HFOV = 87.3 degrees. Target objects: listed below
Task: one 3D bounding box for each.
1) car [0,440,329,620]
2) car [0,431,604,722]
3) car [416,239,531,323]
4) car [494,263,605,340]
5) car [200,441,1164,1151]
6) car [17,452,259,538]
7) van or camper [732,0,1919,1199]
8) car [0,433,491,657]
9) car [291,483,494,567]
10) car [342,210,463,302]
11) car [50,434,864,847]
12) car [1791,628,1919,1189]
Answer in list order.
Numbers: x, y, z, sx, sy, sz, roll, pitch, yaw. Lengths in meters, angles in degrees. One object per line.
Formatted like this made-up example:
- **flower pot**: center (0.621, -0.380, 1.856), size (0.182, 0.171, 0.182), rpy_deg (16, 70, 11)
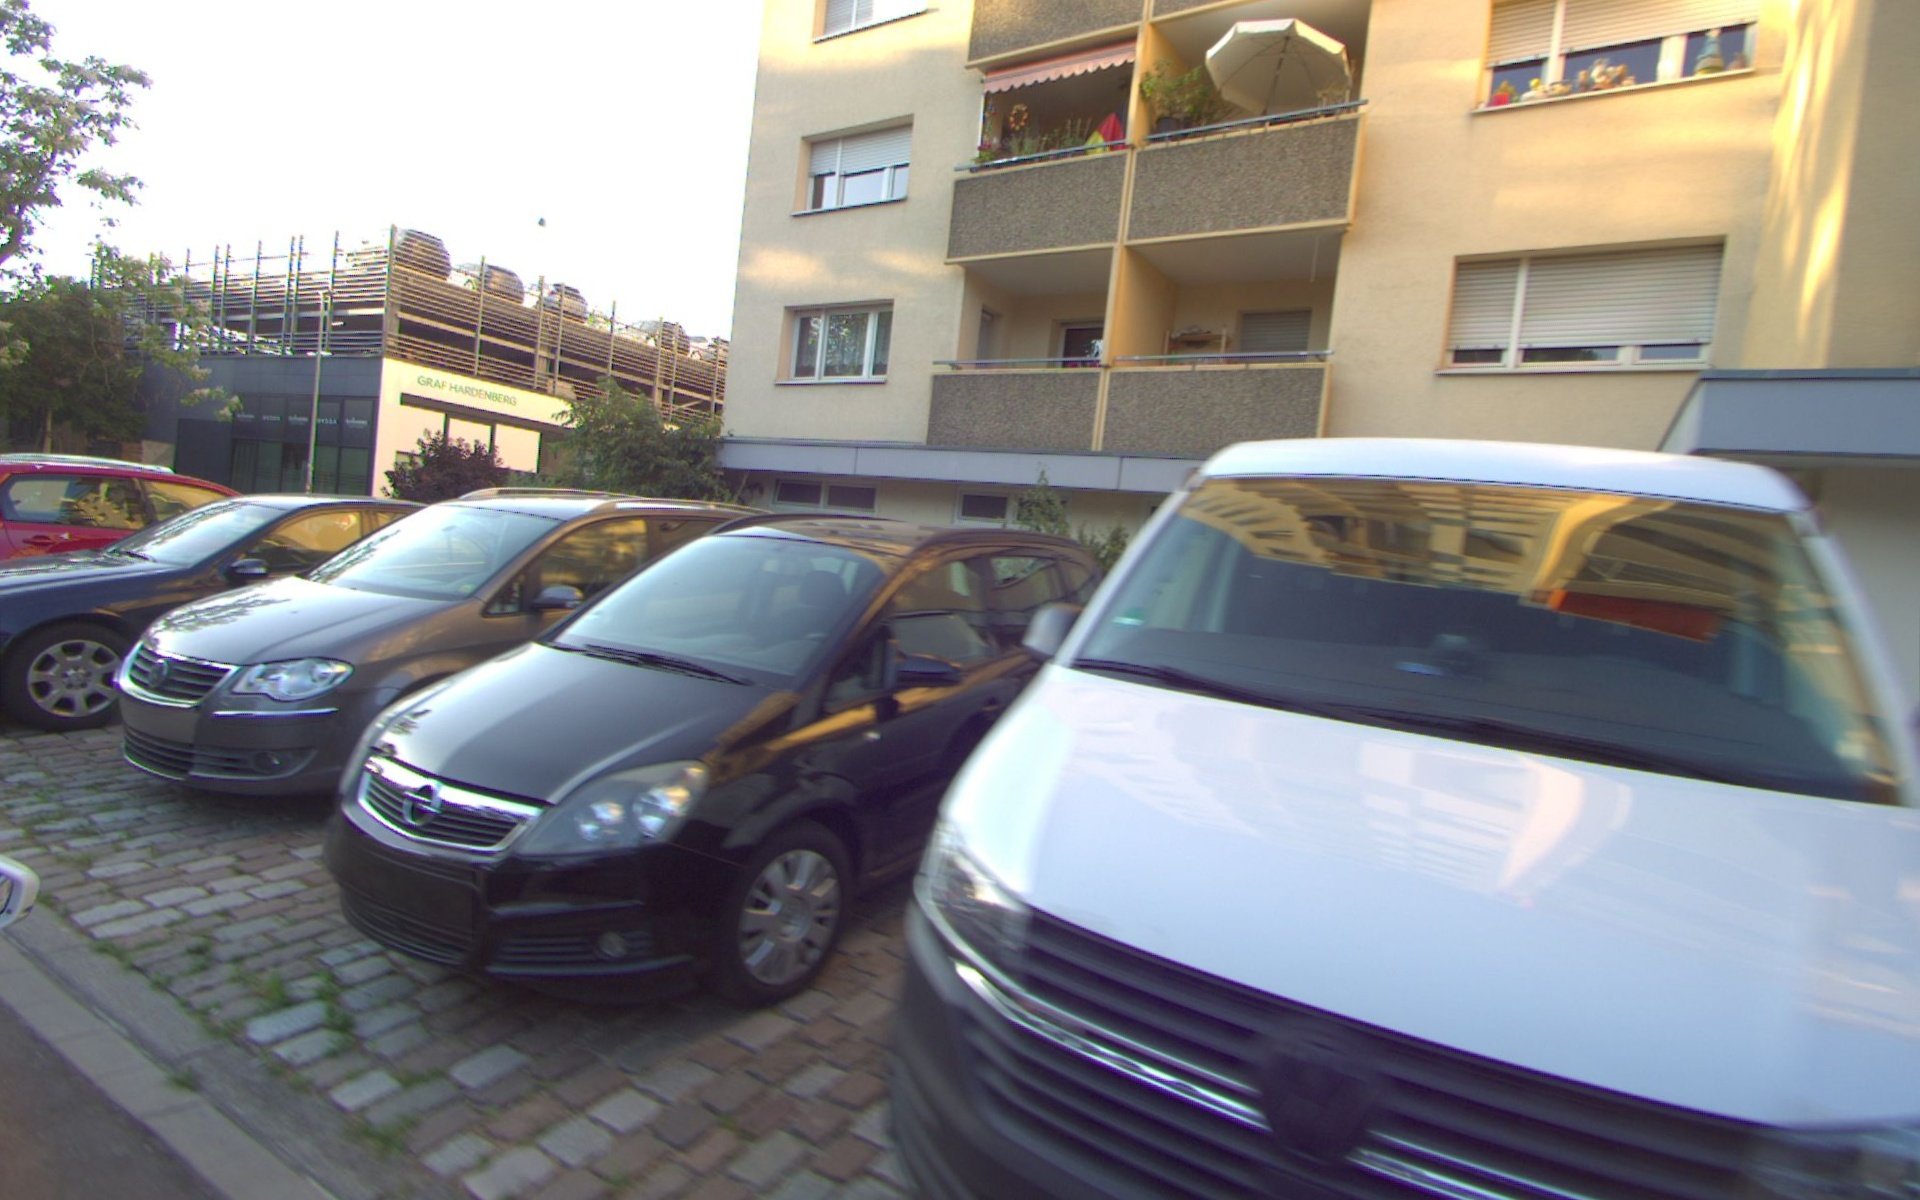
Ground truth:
- **car**: center (-9.262, -0.700, 10.276), size (1.814, 1.653, 4.406), rpy_deg (6, 2, 29)
- **car**: center (-5.029, -0.164, 7.394), size (1.814, 1.552, 4.406), rpy_deg (6, 2, 29)
- **car**: center (-17.558, -11.421, 36.288), size (3.938, 2.039, 1.993), rpy_deg (8, 1, 36)
- **car**: center (-15.663, -11.307, 38.324), size (3.938, 2.039, 1.993), rpy_deg (8, 1, 36)
- **car**: center (-0.618, 0.394, 4.681), size (1.751, 1.684, 4.326), rpy_deg (6, 3, 29)
- **car**: center (-20.191, -2.541, 24.899), size (1.794, 1.523, 4.289), rpy_deg (8, 3, 35)
- **van or camper**: center (1.755, 0.397, 3.529), size (2.005, 2.199, 5.131), rpy_deg (7, 5, 29)
- **car**: center (-6.923, -0.536, 9.284), size (1.816, 1.655, 4.397), rpy_deg (8, 6, 33)
- **car**: center (-13.674, -1.772, 24.408), size (1.794, 1.544, 3.834), rpy_deg (8, 3, 35)
- **car**: center (-18.907, -11.566, 34.097), size (3.938, 2.039, 1.993), rpy_deg (8, 1, 36)
- **car**: center (-2.651, 0.087, 6.457), size (1.814, 1.684, 4.403), rpy_deg (6, 3, 29)
- **car**: center (3.486, 0.980, 2.153), size (1.815, 1.653, 4.404), rpy_deg (6, 2, 31)
